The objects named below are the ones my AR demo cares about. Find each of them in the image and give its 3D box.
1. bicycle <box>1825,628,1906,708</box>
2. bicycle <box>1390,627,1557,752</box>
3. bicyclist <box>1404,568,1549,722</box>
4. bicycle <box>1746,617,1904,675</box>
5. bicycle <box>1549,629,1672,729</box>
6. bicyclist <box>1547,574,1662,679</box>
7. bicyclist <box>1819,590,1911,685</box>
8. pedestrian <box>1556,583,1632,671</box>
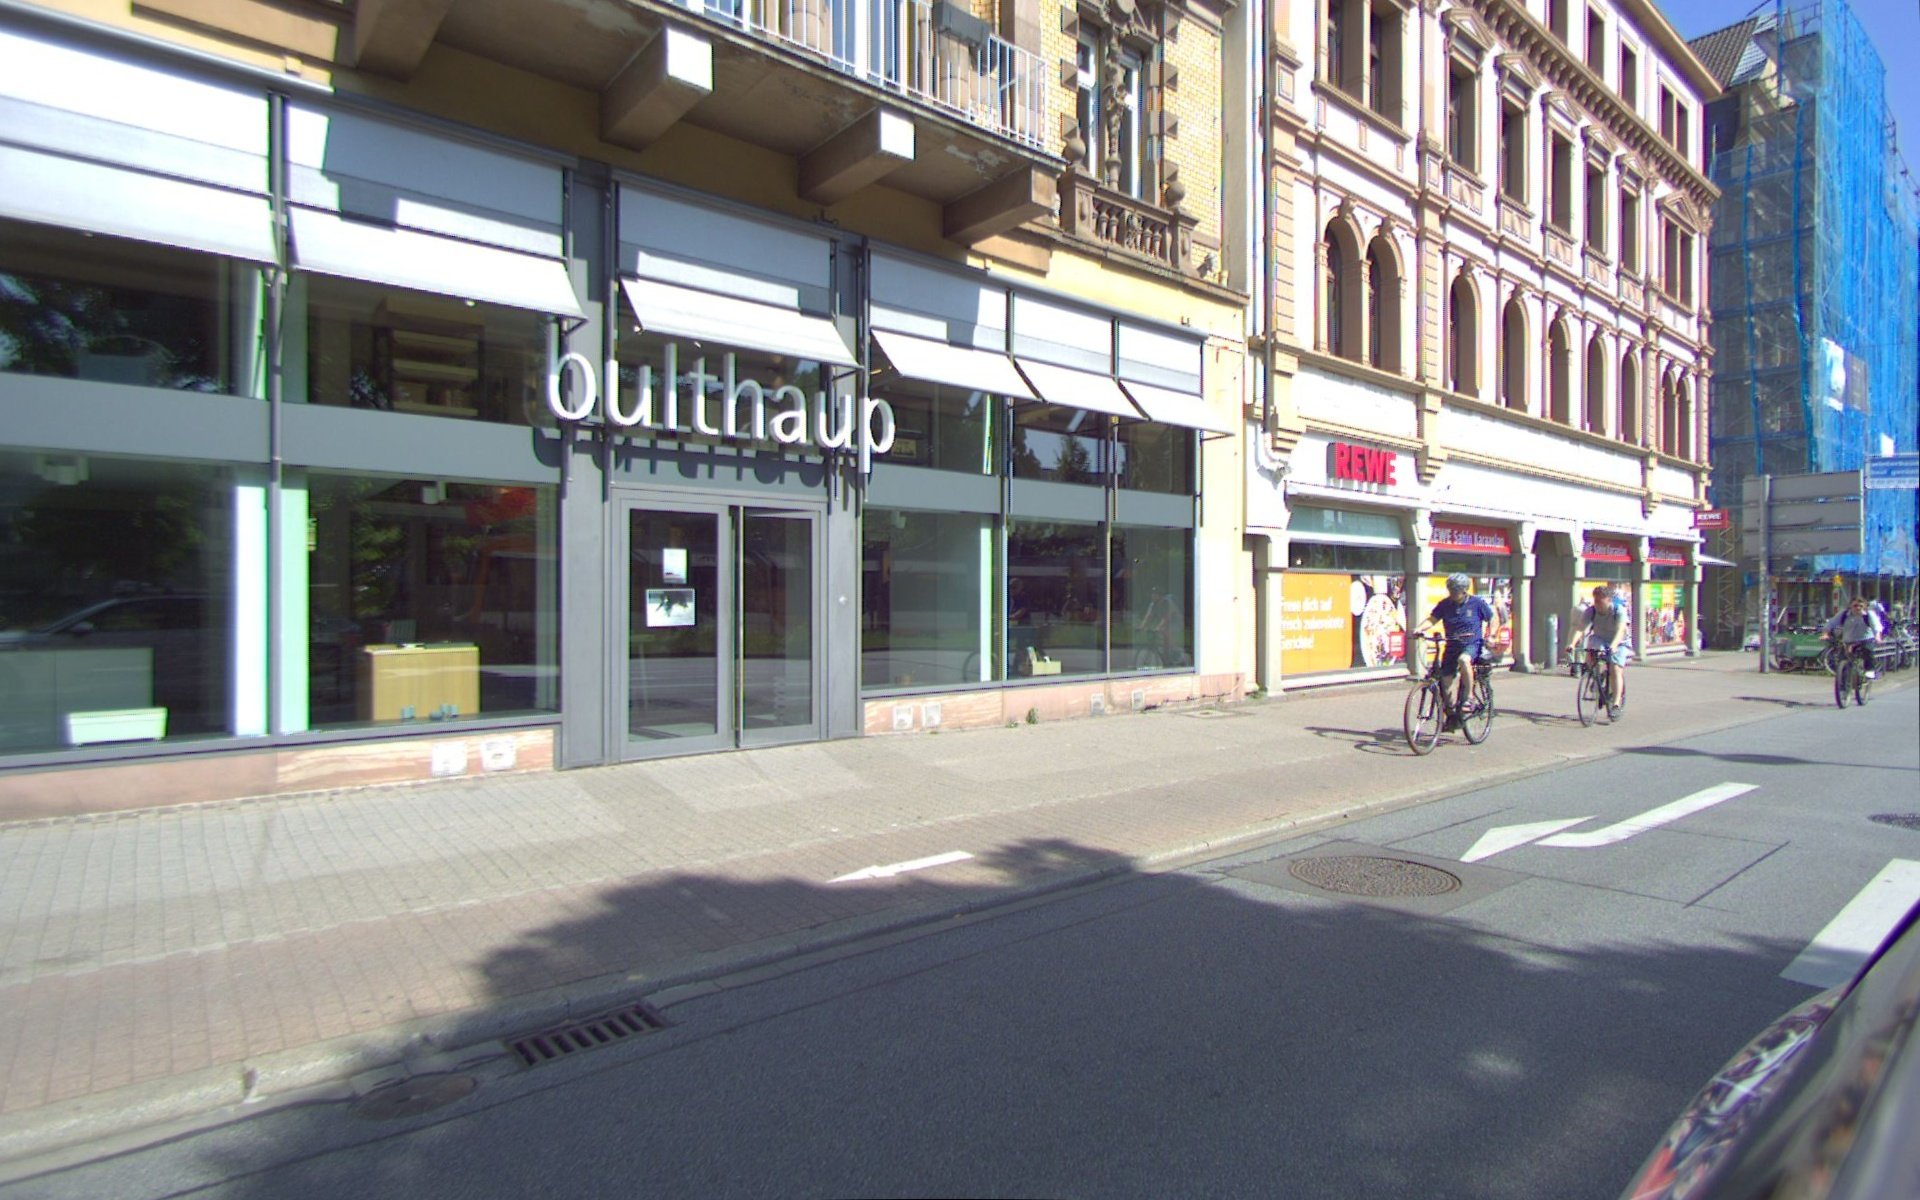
[{"bbox_3d":[14.138,1.020,15.778,2.453,1.096,0.643,1,0,-41],"label":"bicycle"},{"bbox_3d":[5.298,0.852,10.344,2.453,1.096,0.643,1,0,-41],"label":"bicycle"},{"bbox_3d":[5.245,0.416,10.276,1.211,1.454,0.912,1,0,-41],"label":"bicyclist"},{"bbox_3d":[18.597,0.961,21.832,0.631,1.096,2.496,1,1,-35],"label":"bicycle"},{"bbox_3d":[8.269,0.946,12.811,2.453,1.096,0.643,1,0,-41],"label":"bicycle"},{"bbox_3d":[8.206,0.310,12.886,1.211,1.250,0.912,1,1,-41],"label":"bicyclist"},{"bbox_3d":[14.173,0.561,15.849,1.211,1.411,0.912,1,0,-41],"label":"bicyclist"},{"bbox_3d":[12.289,0.498,19.601,1.211,1.621,0.912,1,0,-41],"label":"pedestrian"}]
